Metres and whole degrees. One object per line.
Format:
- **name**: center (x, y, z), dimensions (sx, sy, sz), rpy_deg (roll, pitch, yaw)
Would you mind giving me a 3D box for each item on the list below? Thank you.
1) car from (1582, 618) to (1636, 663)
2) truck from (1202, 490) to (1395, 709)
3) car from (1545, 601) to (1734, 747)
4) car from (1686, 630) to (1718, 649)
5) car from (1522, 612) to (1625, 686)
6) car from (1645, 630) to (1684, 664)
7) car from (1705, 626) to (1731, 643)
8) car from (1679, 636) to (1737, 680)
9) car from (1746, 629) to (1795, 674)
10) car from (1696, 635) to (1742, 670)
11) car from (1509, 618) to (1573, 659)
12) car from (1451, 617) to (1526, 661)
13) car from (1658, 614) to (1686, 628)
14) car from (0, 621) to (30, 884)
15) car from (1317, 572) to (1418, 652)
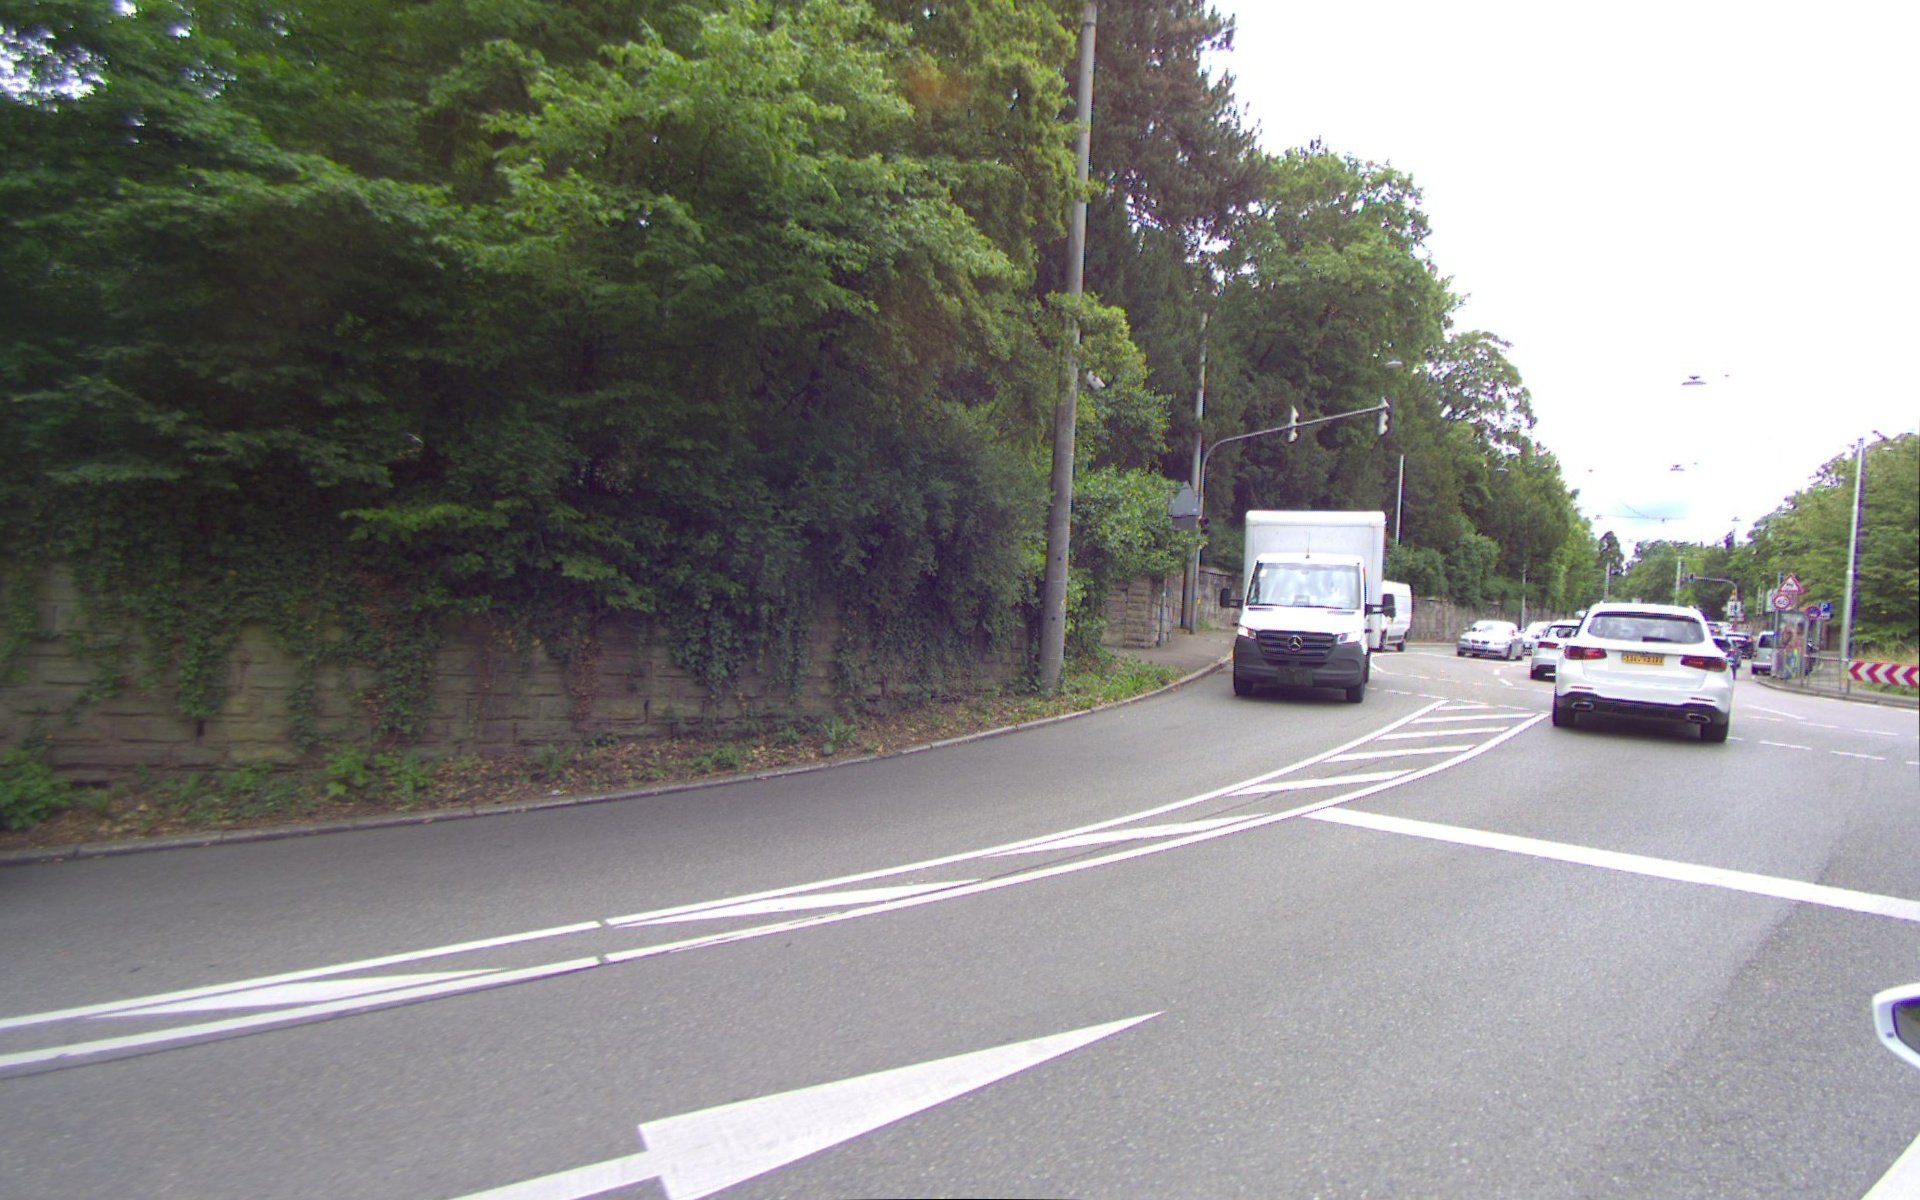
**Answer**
- **car**: center (27.903, 1.686, 43.178), dimensions (1.763, 1.658, 3.725), rpy_deg (5, 3, 33)
- **truck**: center (6.202, -0.070, 17.744), dimensions (2.364, 3.130, 6.336), rpy_deg (2, 1, 26)
- **car**: center (9.416, 0.858, 13.840), dimensions (1.835, 1.627, 4.653), rpy_deg (1, 1, 36)
- **car**: center (65.055, 3.439, 88.104), dimensions (1.621, 1.470, 3.542), rpy_deg (4, 1, 27)
- **car**: center (15.300, 1.172, 25.262), dimensions (1.837, 1.554, 4.770), rpy_deg (4, 0, 28)
- **car**: center (41.265, 2.706, 58.876), dimensions (1.611, 1.844, 3.991), rpy_deg (2, -1, 32)
- **car**: center (74.505, 3.368, 98.772), dimensions (1.623, 1.470, 3.538), rpy_deg (4, 1, 31)
- **car**: center (28.354, 2.175, 38.147), dimensions (1.607, 1.438, 3.842), rpy_deg (5, 1, 36)
- **car**: center (35.026, 2.178, 43.467), dimensions (1.476, 1.772, 3.106), rpy_deg (4, 1, 38)
- **car**: center (36.709, 2.512, 48.647), dimensions (1.662, 1.443, 3.696), rpy_deg (4, 1, 36)
- **car**: center (27.300, 1.798, 47.129), dimensions (1.968, 1.658, 4.381), rpy_deg (6, 2, 37)
- **car**: center (20.627, 1.488, 39.091), dimensions (1.734, 1.461, 4.461), rpy_deg (6, 2, 38)
- **car**: center (82.715, 2.426, 116.709), dimensions (1.619, 1.470, 3.547), rpy_deg (3, 1, 18)
- **car**: center (-7.458, 0.914, 4.863), dimensions (4.009, 1.594, 1.598), rpy_deg (0, -2, -26)
- **car**: center (14.499, 0.466, 35.529), dimensions (1.966, 2.445, 5.880), rpy_deg (7, 2, 34)
